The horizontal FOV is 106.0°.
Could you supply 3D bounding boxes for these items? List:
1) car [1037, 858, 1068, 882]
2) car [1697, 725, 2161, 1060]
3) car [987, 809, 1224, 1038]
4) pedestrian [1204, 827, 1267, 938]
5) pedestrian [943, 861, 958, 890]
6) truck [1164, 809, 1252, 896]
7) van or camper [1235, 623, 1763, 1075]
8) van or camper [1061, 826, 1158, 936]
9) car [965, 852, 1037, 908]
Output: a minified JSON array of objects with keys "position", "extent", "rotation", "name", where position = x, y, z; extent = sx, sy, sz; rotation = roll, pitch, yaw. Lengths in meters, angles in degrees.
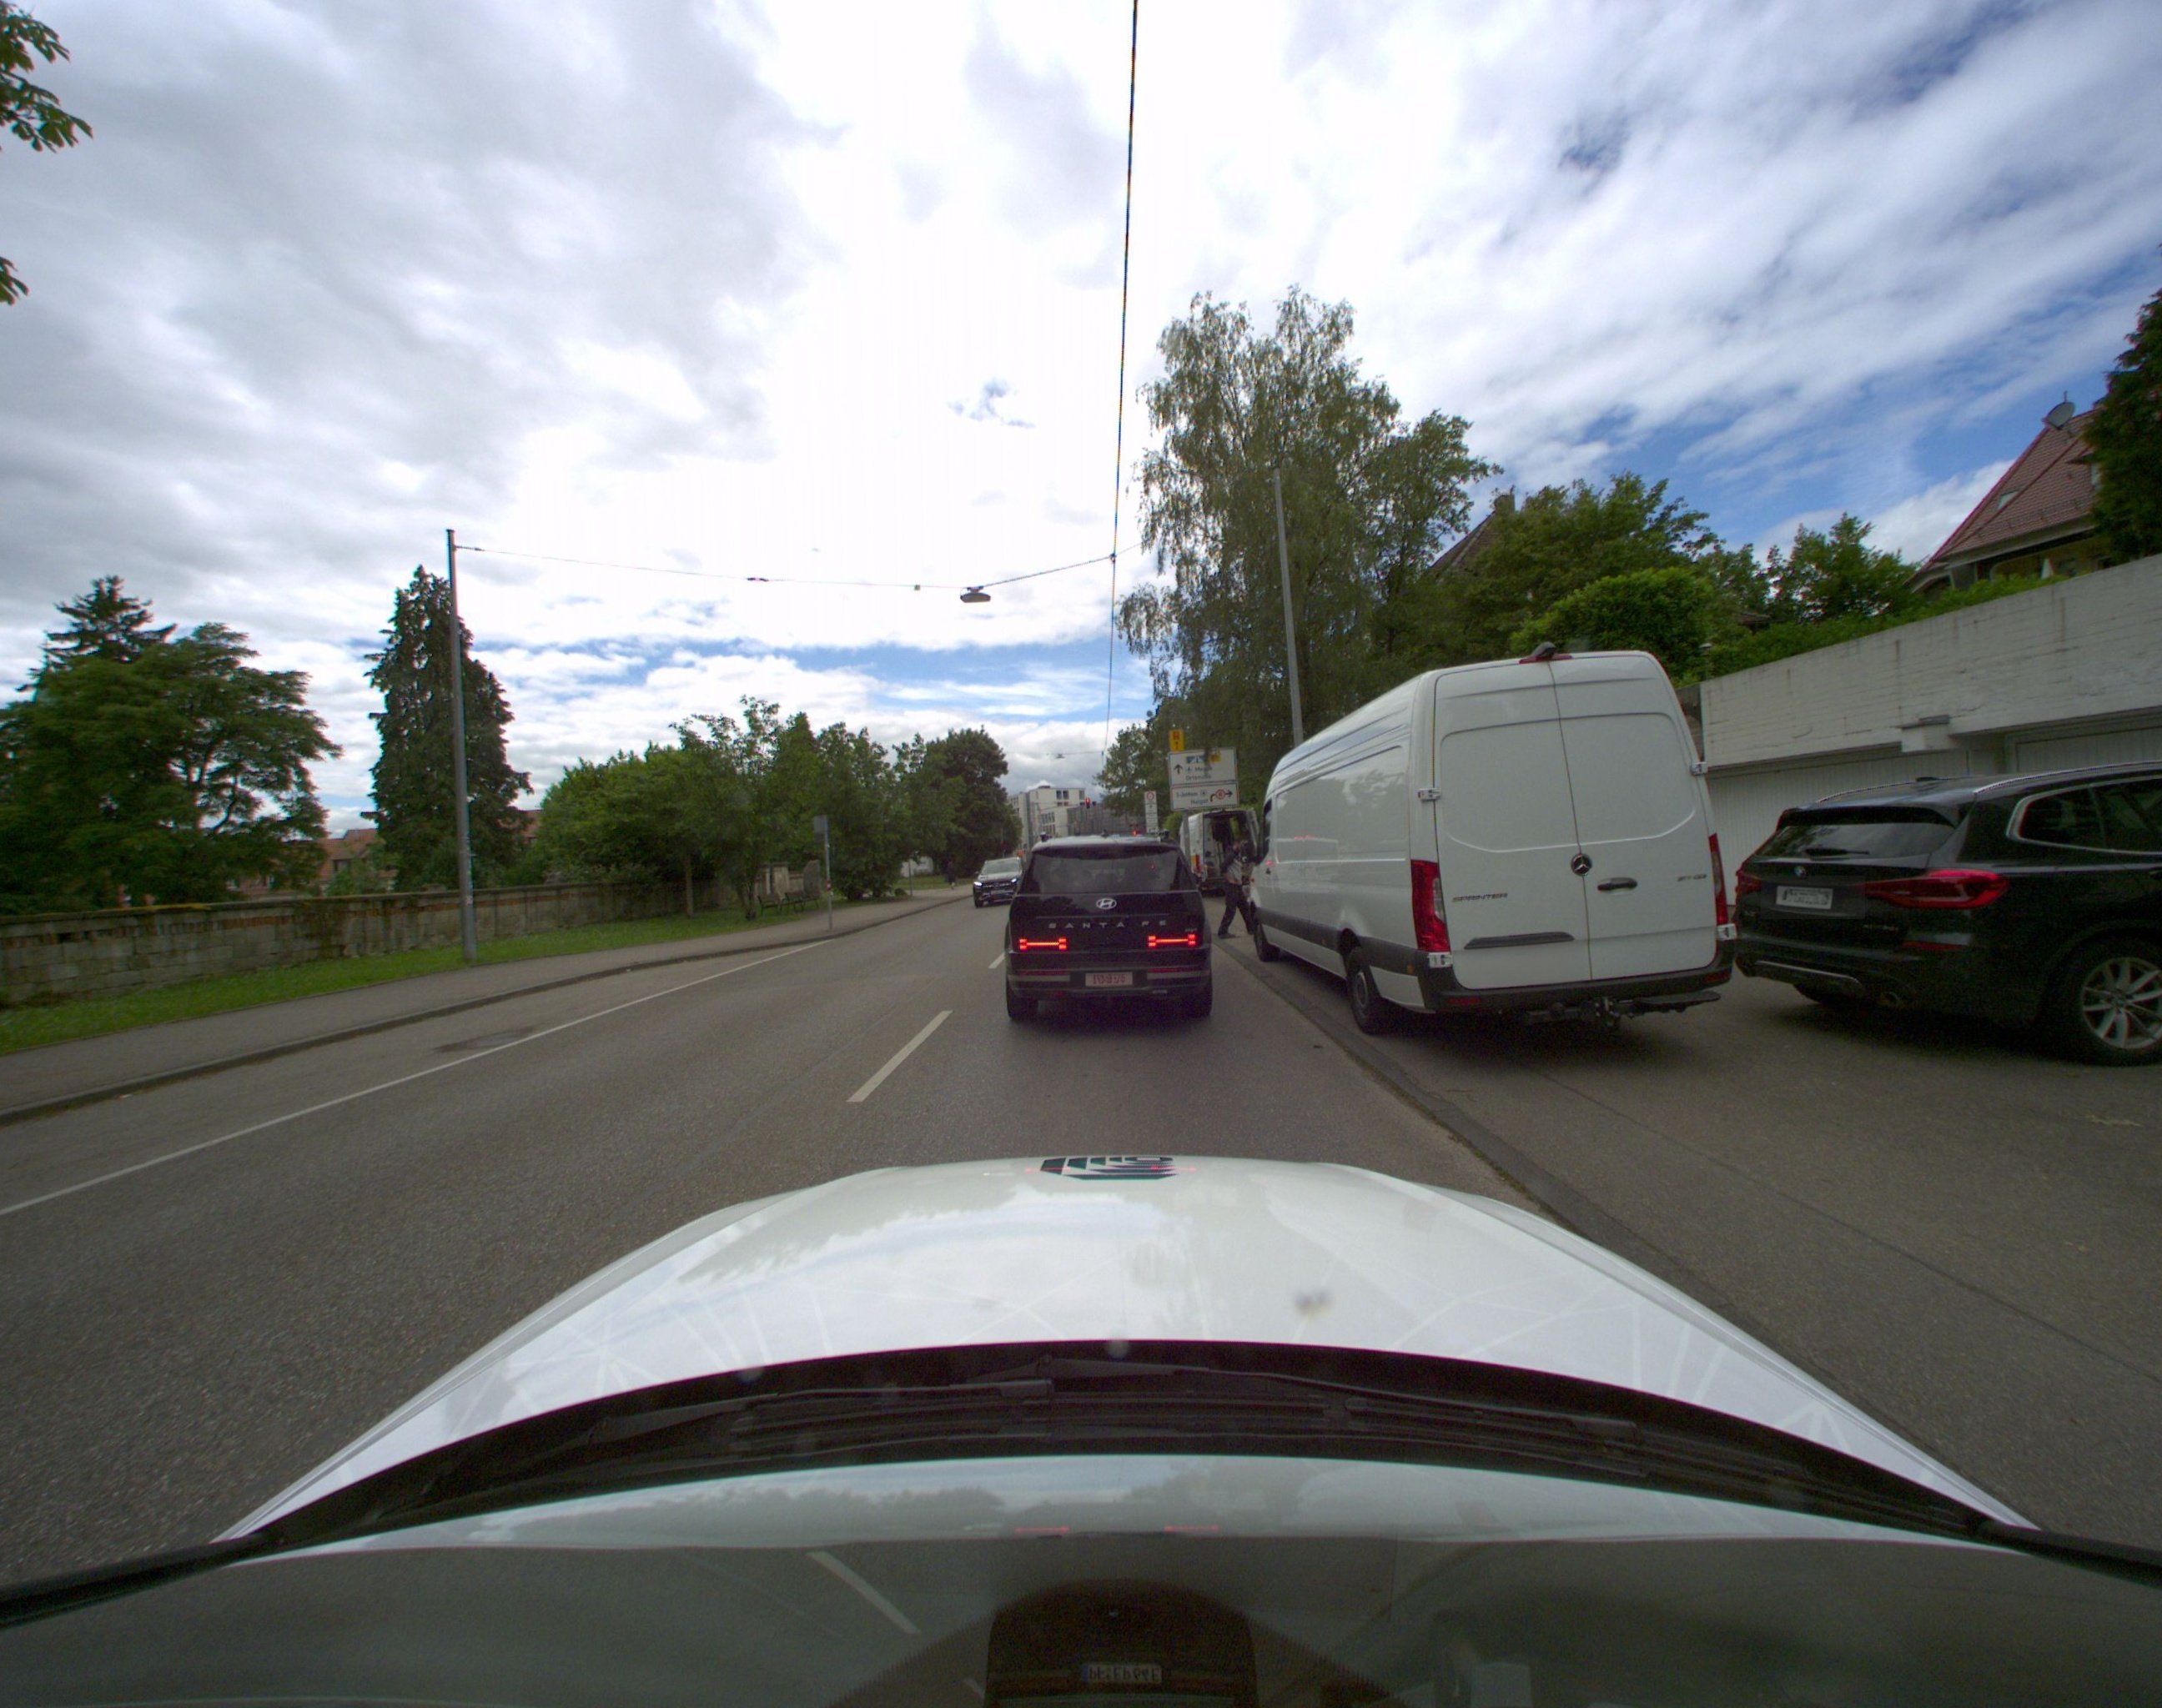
[{"position":[-2.003,1.118,59.074],"extent":[1.852,1.453,4.112],"rotation":[-6,0,2],"name":"car"},{"position":[6.858,0.129,5.204],"extent":[4.398,1.750,1.739],"rotation":[-3,0,3],"name":"car"},{"position":[0.262,0.569,8.644],"extent":[1.883,1.819,4.002],"rotation":[-2,0,2],"name":"car"},{"position":[2.642,0.475,13.982],"extent":[0.867,1.797,0.760],"rotation":[-3,0,1],"name":"pedestrian"},{"position":[-7.793,1.269,48.612],"extent":[0.737,1.715,0.791],"rotation":[-3,0,-5],"name":"pedestrian"},{"position":[4.235,-0.027,28.093],"extent":[1.937,2.561,5.213],"rotation":[-5,-1,-1],"name":"truck"},{"position":[3.129,-0.027,8.173],"extent":[1.986,2.620,6.543],"rotation":[-3,0,2],"name":"van or camper"},{"position":[0.610,0.512,17.587],"extent":[1.748,2.013,4.002],"rotation":[-3,0,2],"name":"van or camper"},{"position":[-2.758,0.859,29.061],"extent":[1.852,1.657,4.307],"rotation":[-6,0,2],"name":"car"}]
